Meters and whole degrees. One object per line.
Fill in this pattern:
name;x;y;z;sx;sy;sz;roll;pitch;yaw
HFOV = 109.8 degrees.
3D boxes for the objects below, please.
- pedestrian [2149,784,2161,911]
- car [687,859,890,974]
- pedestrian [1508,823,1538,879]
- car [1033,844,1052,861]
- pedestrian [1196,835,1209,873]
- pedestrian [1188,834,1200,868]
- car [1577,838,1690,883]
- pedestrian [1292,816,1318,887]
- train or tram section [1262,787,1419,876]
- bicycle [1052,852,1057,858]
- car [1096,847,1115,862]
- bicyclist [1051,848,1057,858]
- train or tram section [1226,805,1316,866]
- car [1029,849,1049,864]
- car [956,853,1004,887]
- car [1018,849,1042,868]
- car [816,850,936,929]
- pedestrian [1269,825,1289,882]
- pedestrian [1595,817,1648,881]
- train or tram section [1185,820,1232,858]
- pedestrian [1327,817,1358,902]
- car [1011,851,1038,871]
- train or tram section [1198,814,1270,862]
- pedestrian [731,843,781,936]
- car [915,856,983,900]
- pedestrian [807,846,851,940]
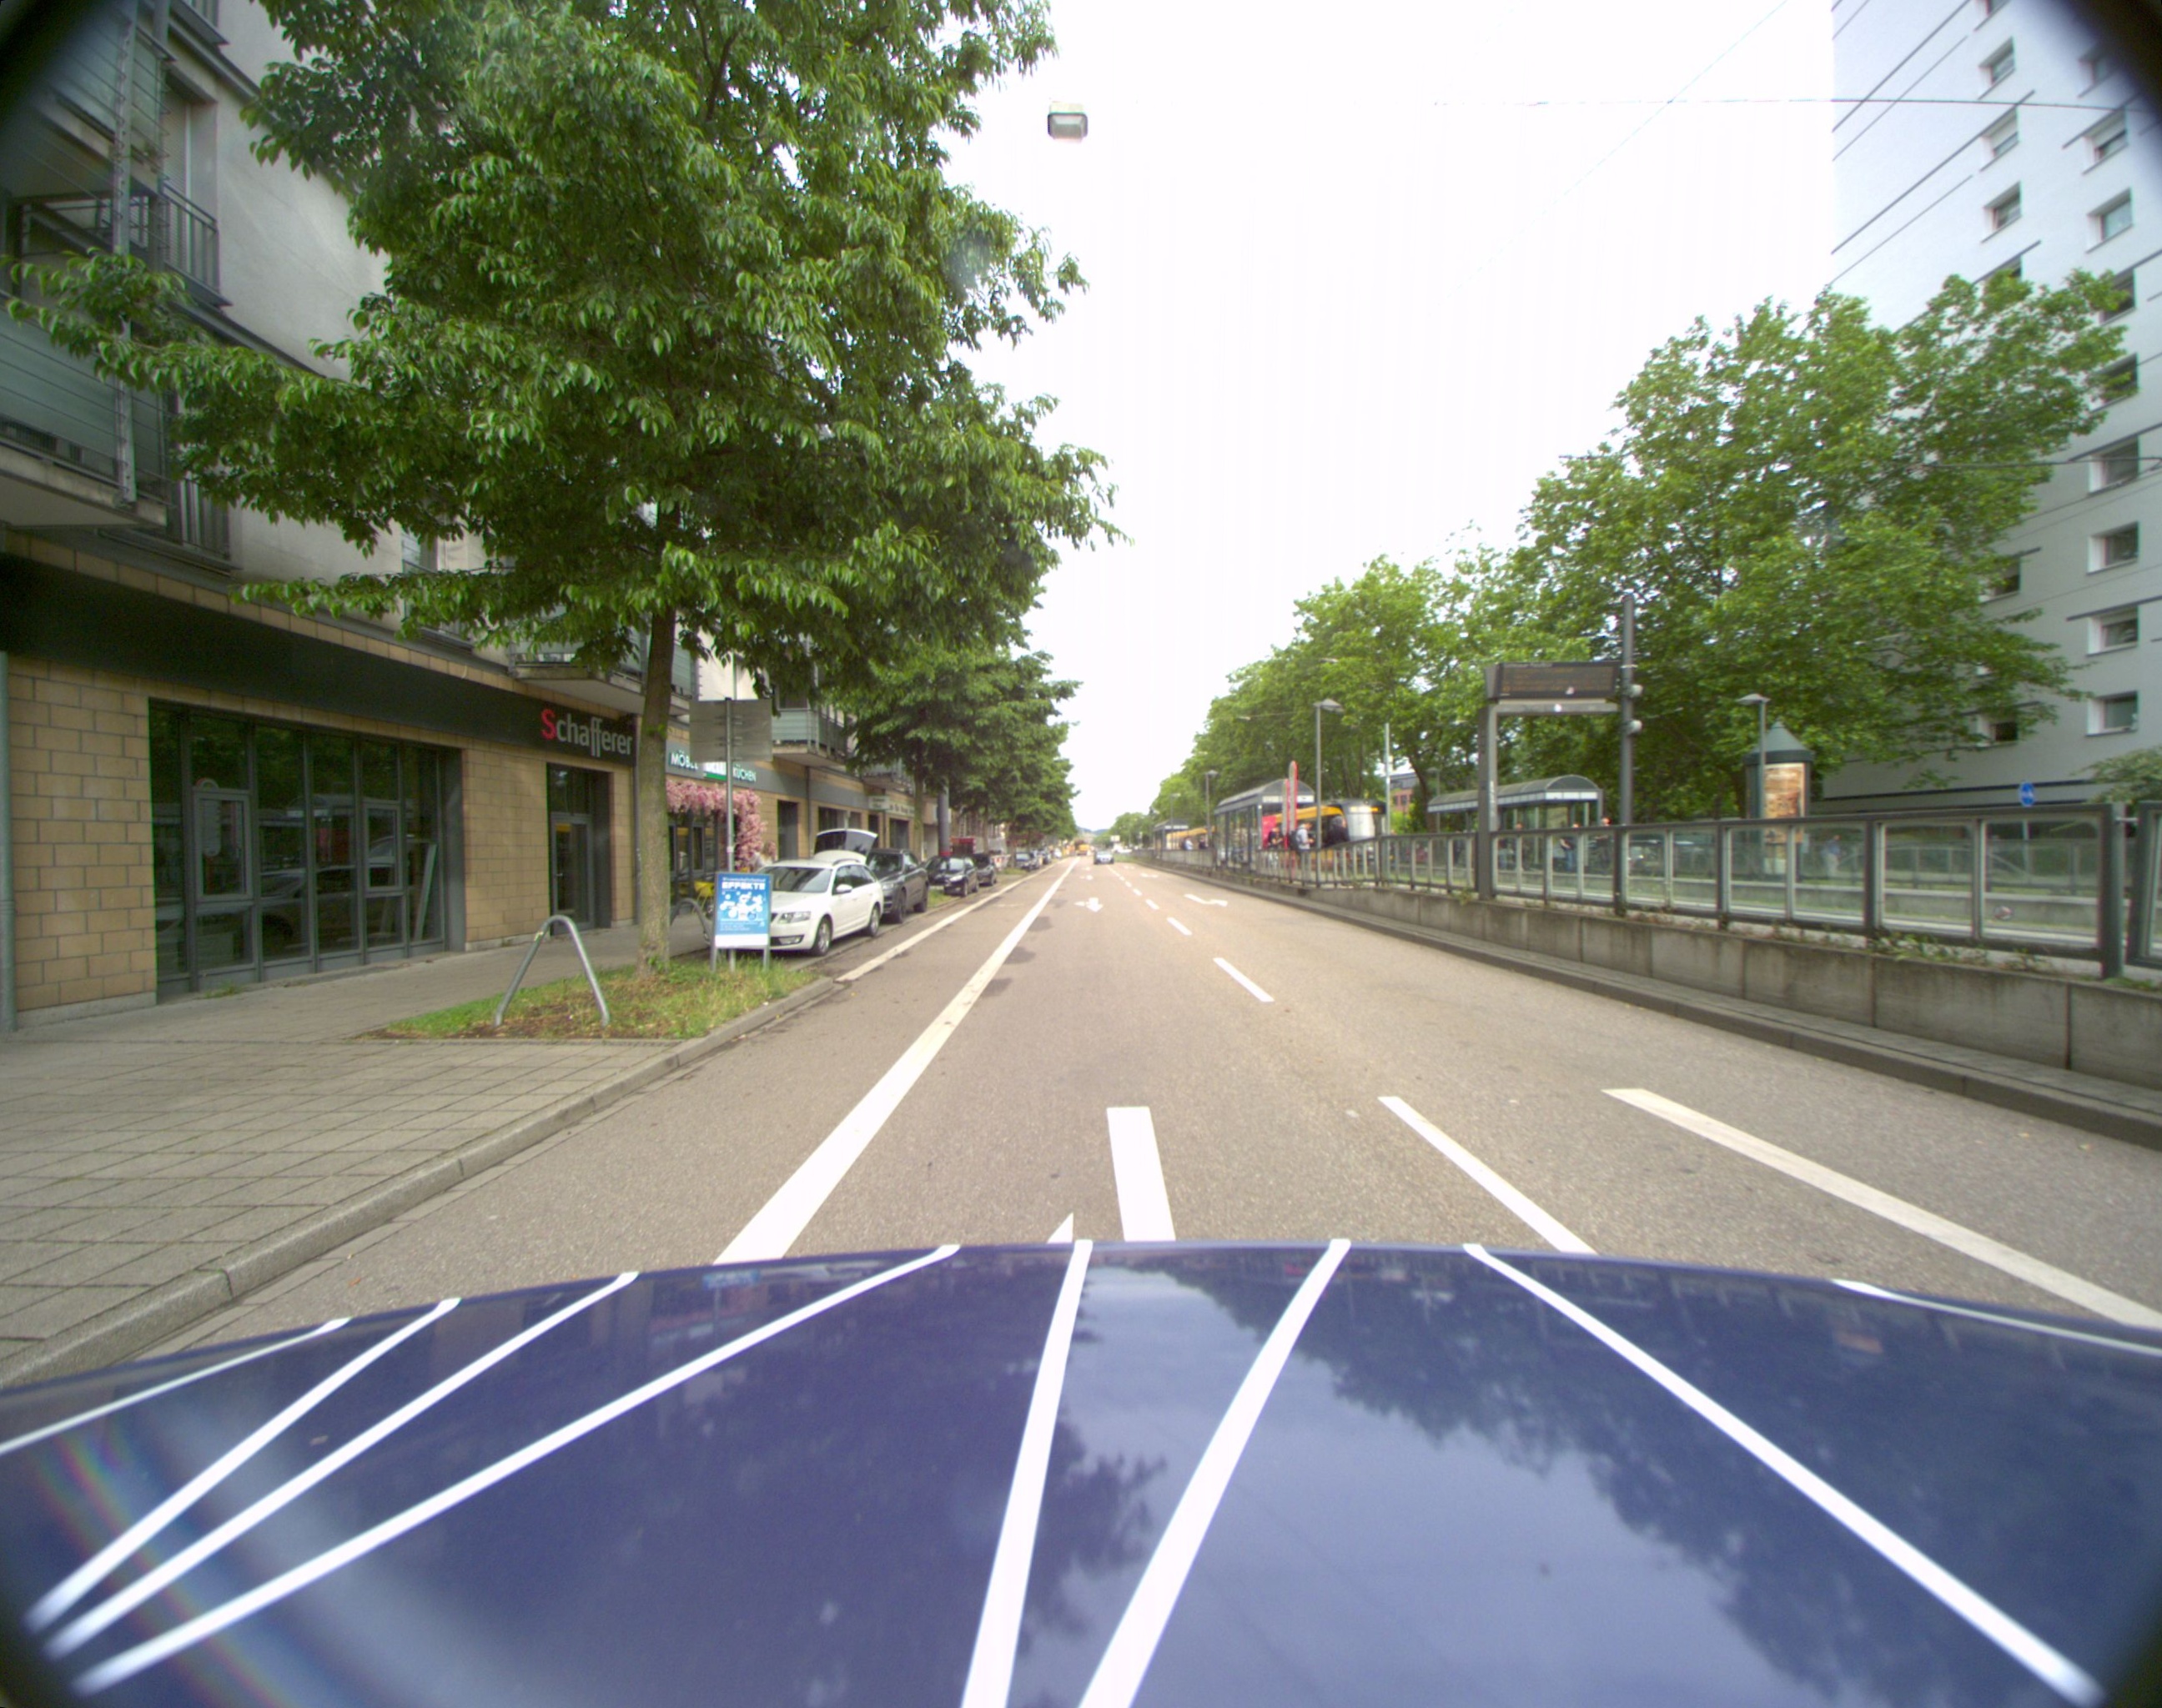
pedestrian;15.228;-0.101;10.233;0.738;1.740;0.666;-2;1;1
car;-4.721;0.902;13.010;1.738;1.512;4.308;2;1;1
pedestrian;15.370;-0.105;26.424;0.699;1.919;0.554;-2;1;1
car;-3.966;-0.142;78.230;1.612;1.674;3.806;2;1;1
pedestrian;5.845;-0.001;36.532;0.530;1.794;0.606;-2;1;14
pedestrian;6.138;-0.179;41.349;0.530;1.794;0.606;-2;1;14
car;18.828;0.179;26.057;1.581;1.420;3.219;-1;1;1
pedestrian;5.752;-0.065;19.556;0.475;1.794;0.605;-2;1;5
train or tram section;13.101;-1.064;40.671;3.338;3.731;15.201;-2;1;1
bicycle;-3.948;0.139;112.509;0.491;0.925;1.780;-2;1;-11
car;2.377;0.060;74.529;1.716;1.379;4.099;-2;1;1
bicyclist;-3.965;-0.121;112.393;0.726;1.458;0.812;-1;1;-11
train or tram section;13.268;-1.227;54.573;3.338;3.731;12.547;-2;1;1
car;-3.972;0.208;72.459;1.612;1.393;3.667;2;1;1
car;-4.558;0.685;34.745;1.612;1.393;3.667;2;1;1
car;-4.127;0.364;62.173;1.612;1.393;3.667;2;1;1
car;-4.717;0.743;18.012;1.738;1.601;3.798;2;1;1
pedestrian;6.311;-0.028;24.208;0.474;1.794;0.606;-2;1;26
pedestrian;15.413;-0.142;21.693;0.882;1.746;0.850;-2;1;1
train or tram section;13.667;-1.557;82.593;3.338;3.731;11.042;-2;1;1
pedestrian;5.704;0.119;16.588;0.521;1.794;0.605;-2;1;13
car;-4.167;0.479;56.264;1.612;1.393;3.667;2;1;1
train or tram section;13.470;-1.396;68.952;3.338;3.731;16.247;-2;1;1
pedestrian;-6.195;0.651;14.496;0.736;1.707;0.619;1;2;41
car;-4.639;0.795;27.284;1.612;1.370;4.167;2;1;1
pedestrian;-5.160;0.778;15.578;0.656;1.873;0.599;-1;1;1
